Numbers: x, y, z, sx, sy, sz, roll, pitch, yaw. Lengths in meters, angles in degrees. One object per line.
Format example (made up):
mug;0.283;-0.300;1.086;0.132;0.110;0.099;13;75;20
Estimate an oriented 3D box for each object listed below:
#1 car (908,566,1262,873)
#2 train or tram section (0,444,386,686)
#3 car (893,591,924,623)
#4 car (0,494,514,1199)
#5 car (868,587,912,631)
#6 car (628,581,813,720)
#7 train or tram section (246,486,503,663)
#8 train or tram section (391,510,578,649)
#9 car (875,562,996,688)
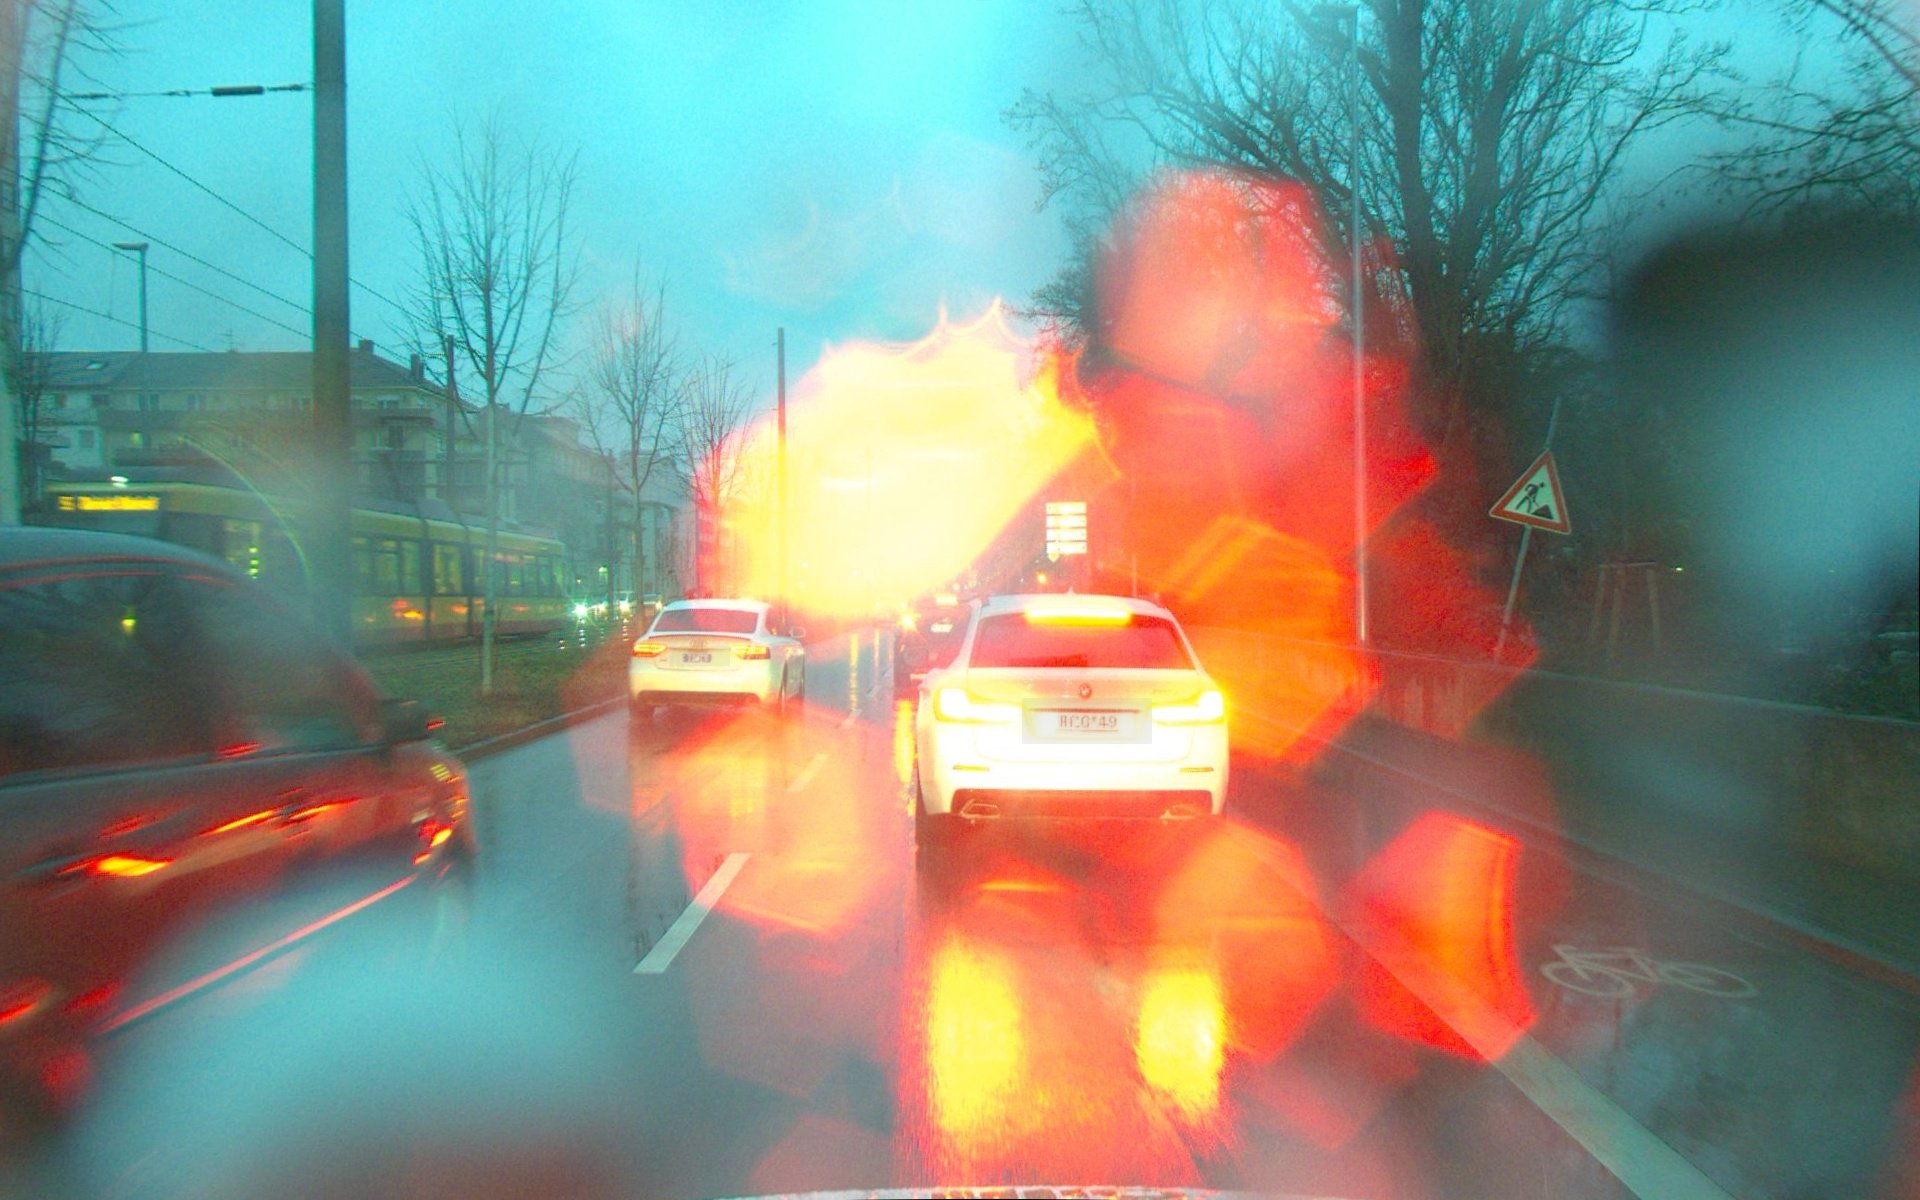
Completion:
car;0.594;0.628;10.737;1.725;1.580;4.248;1;0;-3
train or tram section;-13.141;-0.523;29.329;2.784;3.566;9.156;-1;0;-1
car;-3.452;0.460;111.432;1.953;2.049;3.999;1;0;-1
car;-2.389;0.635;3.700;1.724;1.621;3.999;1;0;-1
car;-3.289;0.420;78.544;1.953;2.049;3.999;1;0;-1
car;-2.816;0.556;20.240;1.724;1.495;4.250;1;0;-2
train or tram section;-13.281;-0.514;38.501;2.784;3.566;9.156;-1;0;-1
train or tram section;-13.443;-0.526;47.668;2.784;3.566;9.156;-1;0;-1
car;-0.433;0.408;29.171;1.953;2.049;3.999;1;0;-1
